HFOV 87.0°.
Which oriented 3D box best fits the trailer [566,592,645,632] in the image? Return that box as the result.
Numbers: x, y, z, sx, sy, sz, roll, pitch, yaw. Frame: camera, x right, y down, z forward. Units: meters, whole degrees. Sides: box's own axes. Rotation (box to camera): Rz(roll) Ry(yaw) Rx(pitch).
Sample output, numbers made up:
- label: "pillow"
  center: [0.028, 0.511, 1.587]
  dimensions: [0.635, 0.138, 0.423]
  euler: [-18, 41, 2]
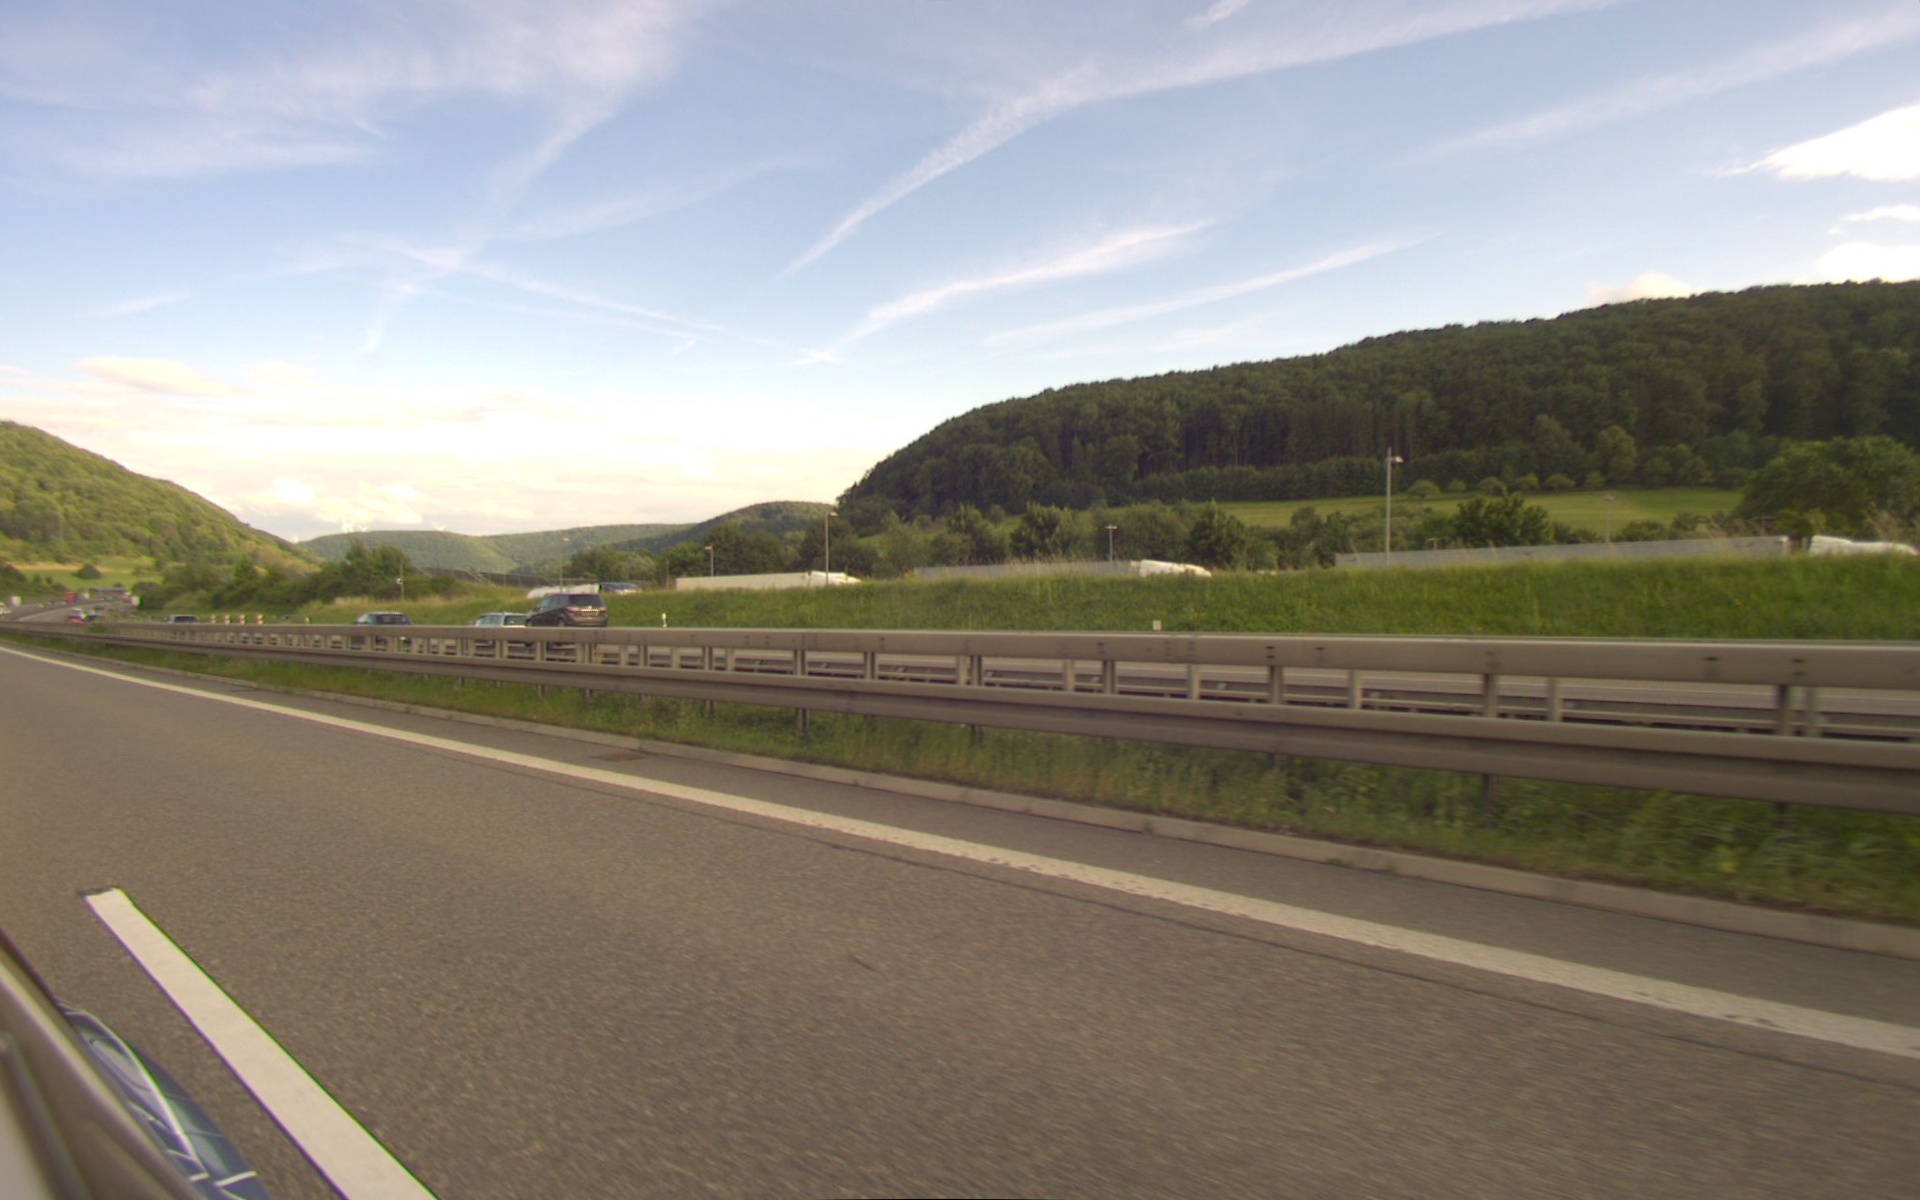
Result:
- label: "trailer"
  center: [-27.240, 0.862, 77.601]
  dimensions: [7.304, 2.875, 2.584]
  euler: [0, 0, 42]

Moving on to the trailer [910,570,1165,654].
- label: "trailer"
  center: [3.431, 0.604, 50.336]
  dimensions: [13.671, 3.724, 2.847]
  euler: [0, -2, 42]

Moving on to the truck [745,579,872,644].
- label: "truck"
  center: [-9.340, 0.771, 61.685]
  dimensions: [8.489, 3.719, 2.851]
  euler: [-1, -3, 41]

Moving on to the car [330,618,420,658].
- label: "car"
  center: [-23.134, 1.494, 39.980]
  dimensions: [3.871, 1.487, 1.931]
  euler: [-1, -3, 41]

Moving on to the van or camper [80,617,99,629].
- label: "van or camper"
  center: [-141.533, 3.767, 164.606]
  dimensions: [4.756, 1.888, 1.894]
  euler: [-1, -2, 44]

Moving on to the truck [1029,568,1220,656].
- label: "truck"
  center: [7.433, 0.581, 46.762]
  dimensions: [8.489, 3.719, 2.851]
  euler: [0, -2, 41]

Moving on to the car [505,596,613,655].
- label: "car"
  center: [-15.337, 1.004, 38.596]
  dimensions: [4.519, 2.129, 1.931]
  euler: [-1, -3, 41]

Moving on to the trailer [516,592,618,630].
- label: "trailer"
  center: [-31.960, 0.824, 81.910]
  dimensions: [12.261, 2.875, 2.551]
  euler: [0, 0, 42]

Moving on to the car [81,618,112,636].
- label: "car"
  center: [-83.143, 2.556, 97.440]
  dimensions: [4.342, 1.626, 1.787]
  euler: [0, 0, 43]

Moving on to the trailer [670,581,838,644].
- label: "trailer"
  center: [-13.587, 0.889, 65.318]
  dimensions: [13.668, 3.724, 2.847]
  euler: [-1, -3, 41]

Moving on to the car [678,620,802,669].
- label: "car"
  center: [-7.410, 1.463, 33.942]
  dimensions: [4.207, 1.537, 1.931]
  euler: [-1, -2, 41]

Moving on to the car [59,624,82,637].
- label: "car"
  center: [-109.983, 3.758, 125.123]
  dimensions: [1.820, 1.542, 4.217]
  euler: [3, -3, -44]

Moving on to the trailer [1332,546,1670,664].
- label: "trailer"
  center: [19.121, 0.282, 36.543]
  dimensions: [10.369, 3.724, 2.846]
  euler: [-1, -2, 42]

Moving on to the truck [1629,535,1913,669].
- label: "truck"
  center: [24.911, 0.136, 31.397]
  dimensions: [6.588, 3.719, 2.851]
  euler: [-1, -2, 41]
